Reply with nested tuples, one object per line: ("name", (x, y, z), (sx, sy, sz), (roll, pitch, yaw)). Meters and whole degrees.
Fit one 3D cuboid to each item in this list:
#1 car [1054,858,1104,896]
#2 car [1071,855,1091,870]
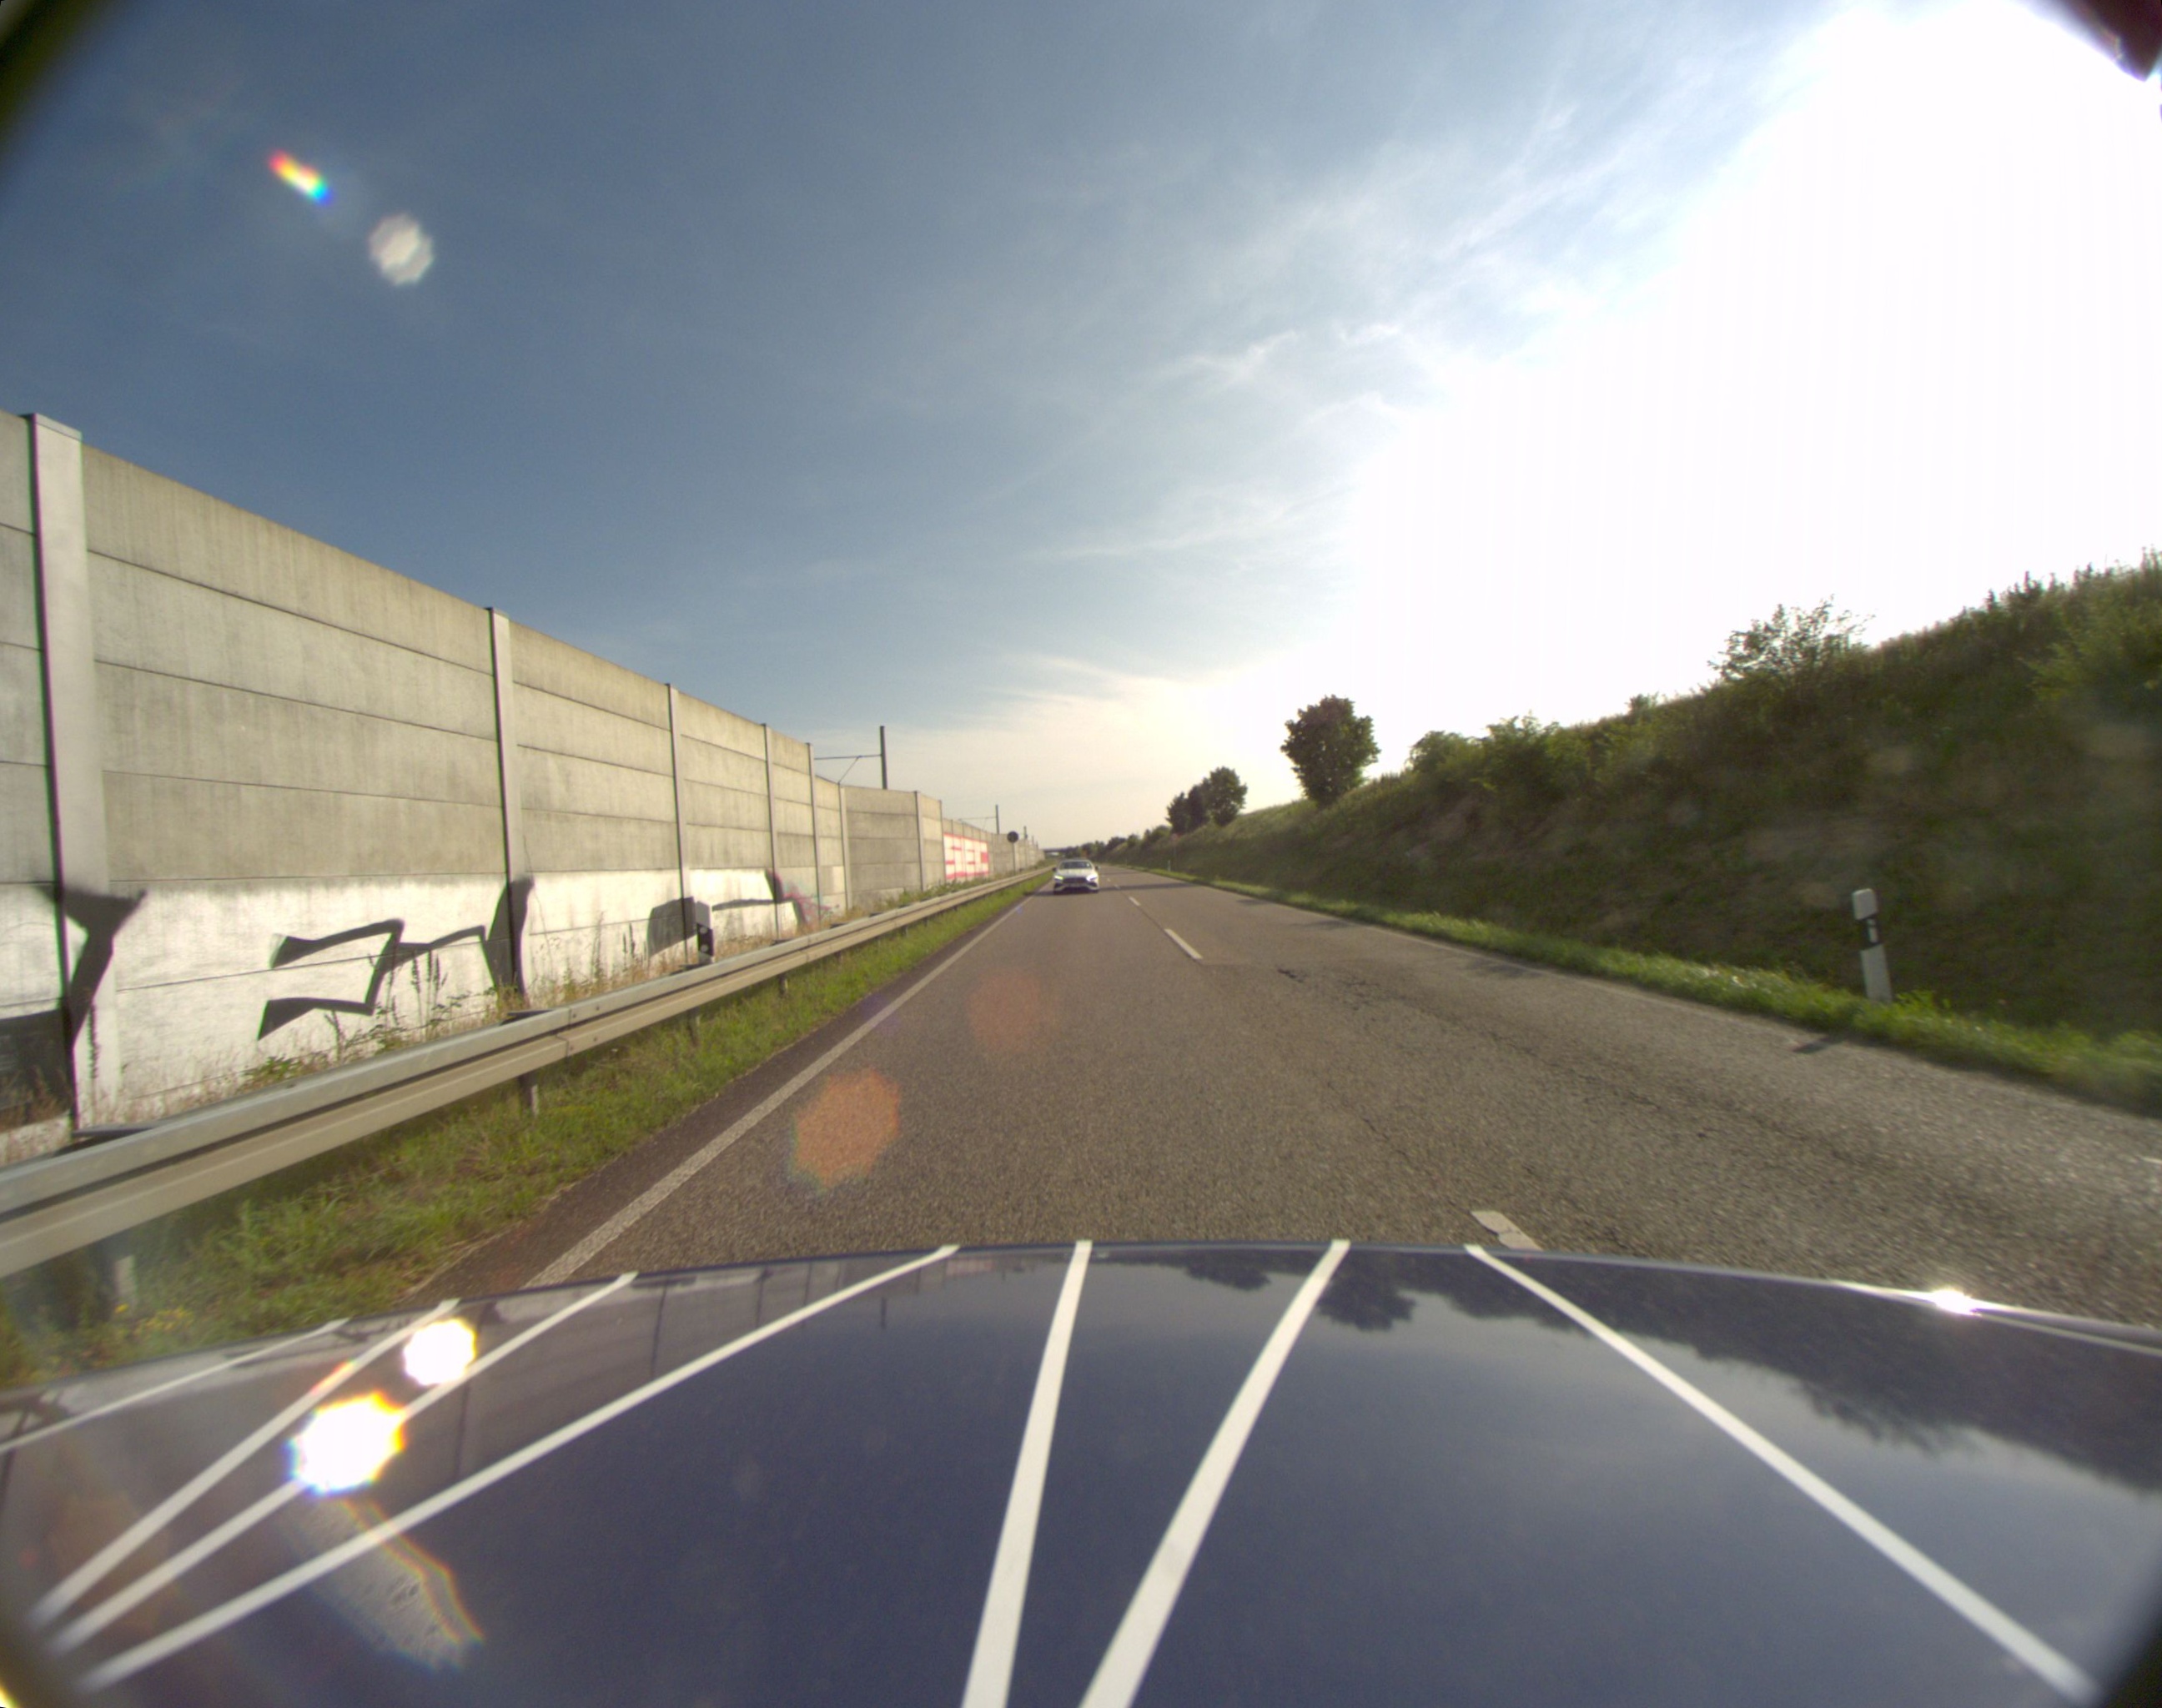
("car", (-0.167, 0.945, 33.053), (1.930, 1.398, 4.973), (-3, 0, -2))
("car", (-0.034, 0.873, 79.070), (1.930, 1.399, 4.973), (-1, 0, -1))
